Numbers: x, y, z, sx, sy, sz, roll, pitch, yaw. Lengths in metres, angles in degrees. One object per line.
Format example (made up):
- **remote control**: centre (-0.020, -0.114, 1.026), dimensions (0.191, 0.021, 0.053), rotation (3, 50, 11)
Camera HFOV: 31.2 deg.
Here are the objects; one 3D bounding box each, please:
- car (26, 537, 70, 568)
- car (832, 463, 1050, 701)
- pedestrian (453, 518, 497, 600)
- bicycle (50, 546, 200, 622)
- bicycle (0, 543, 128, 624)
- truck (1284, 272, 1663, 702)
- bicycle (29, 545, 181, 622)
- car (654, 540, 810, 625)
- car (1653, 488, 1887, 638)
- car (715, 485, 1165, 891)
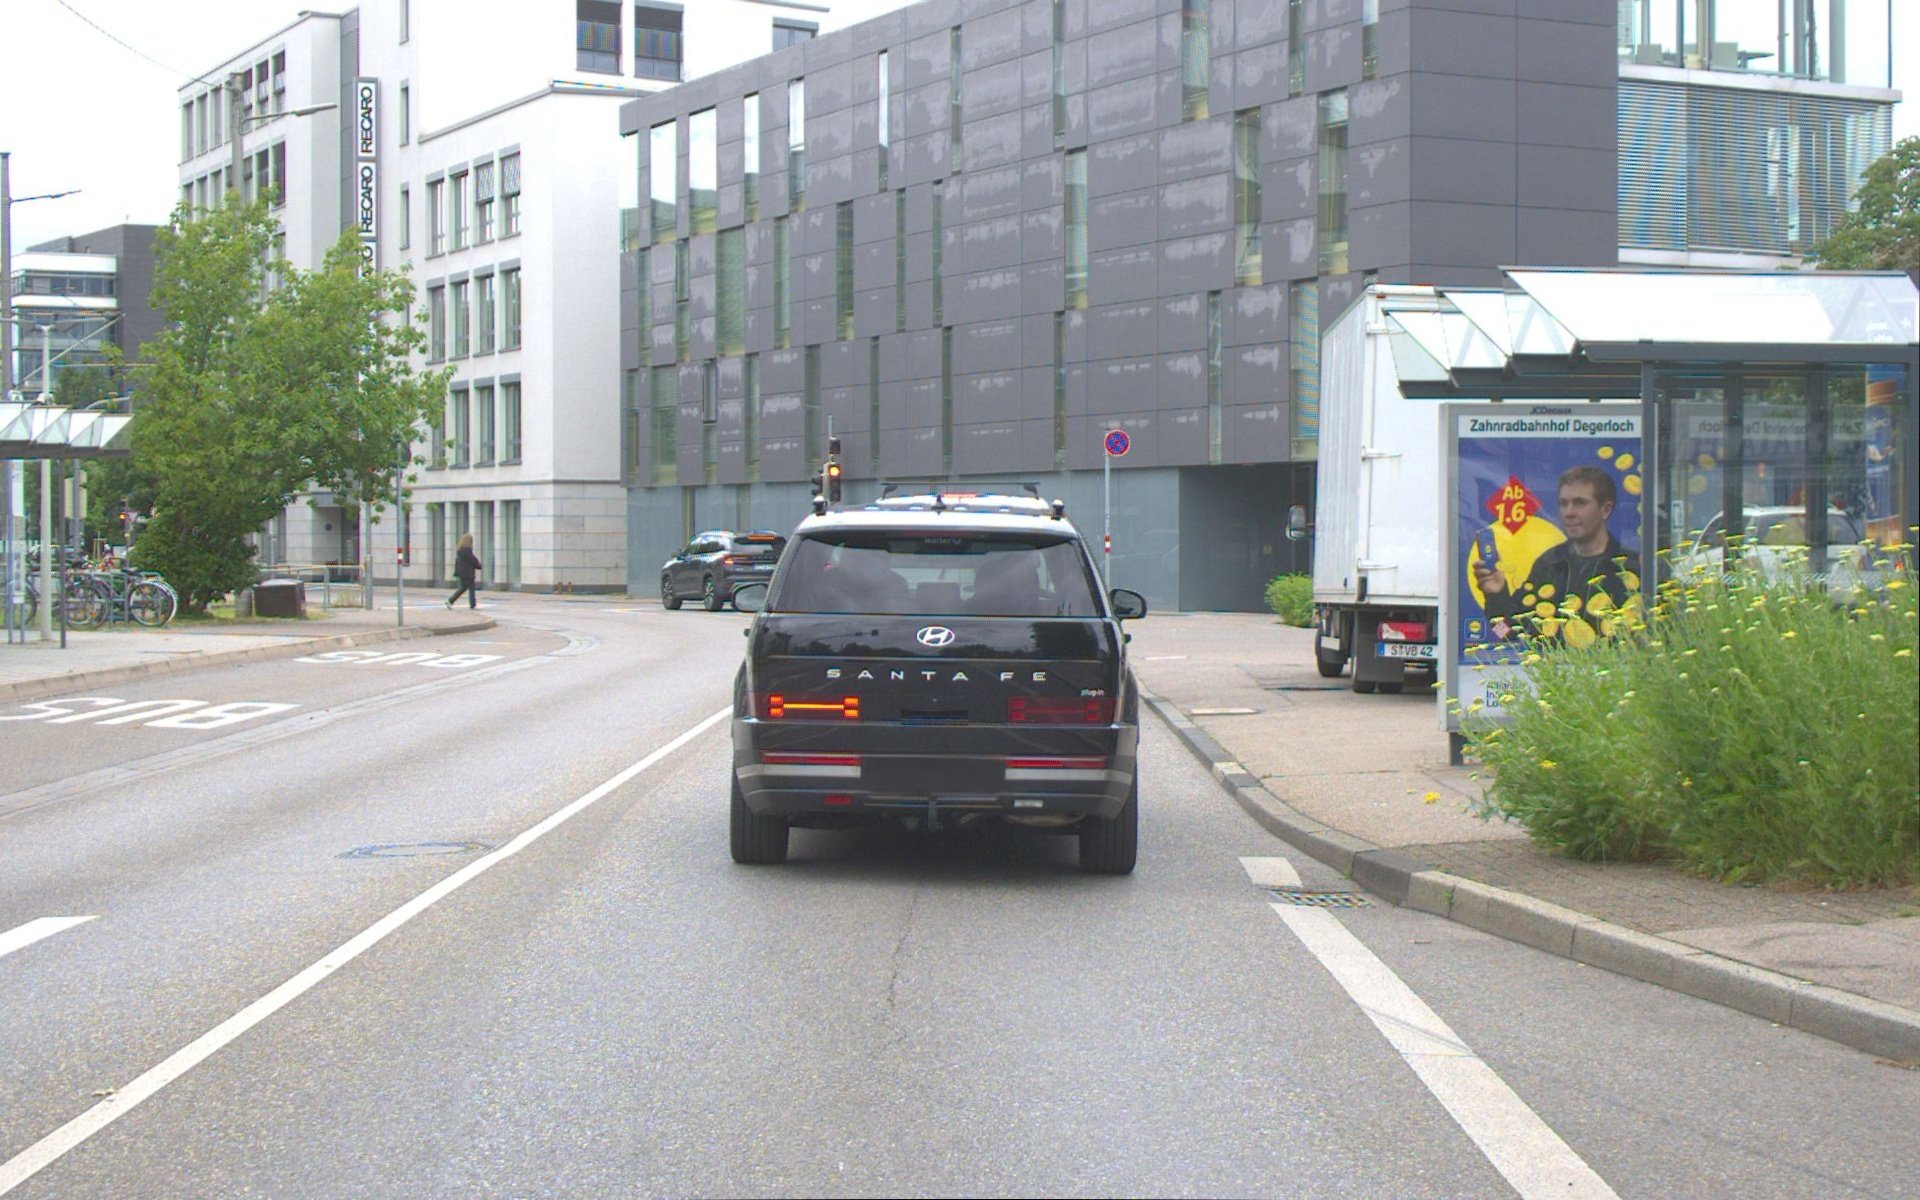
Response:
- **car**: centre (-43.914, -2.304, 165.466), dimensions (1.899, 1.481, 4.001), rotation (0, 1, -17)
- **car**: centre (-0.184, -0.214, 31.590), dimensions (1.855, 2.026, 4.437), rotation (0, 1, -1)
- **pedestrian**: centre (-10.770, -0.914, 76.355), dimensions (0.938, 1.794, 0.591), rotation (0, 1, -11)
- **bicycle**: centre (-12.620, -0.246, 51.960), dimensions (2.099, 1.102, 0.631), rotation (1, 1, 2)
- **bicycle**: centre (-12.900, -0.241, 49.015), dimensions (1.928, 1.102, 0.587), rotation (1, 1, 2)
- **truck**: centre (4.577, -1.003, 32.071), dimensions (2.573, 3.513, 7.810), rotation (0, 1, 2)
- **bicycle**: centre (-12.738, -0.247, 51.239), dimensions (2.099, 1.102, 0.631), rotation (1, 1, 2)
- **car**: centre (-4.800, -0.373, 71.718), dimensions (1.847, 1.671, 4.376), rotation (-2, 1, -23)
- **car**: centre (10.641, -0.477, 45.494), dimensions (1.993, 1.831, 4.518), rotation (-2, 0, 0)
- **car**: centre (-0.168, 0.343, 17.053), dimensions (1.915, 1.719, 4.171), rotation (2, 1, -2)
